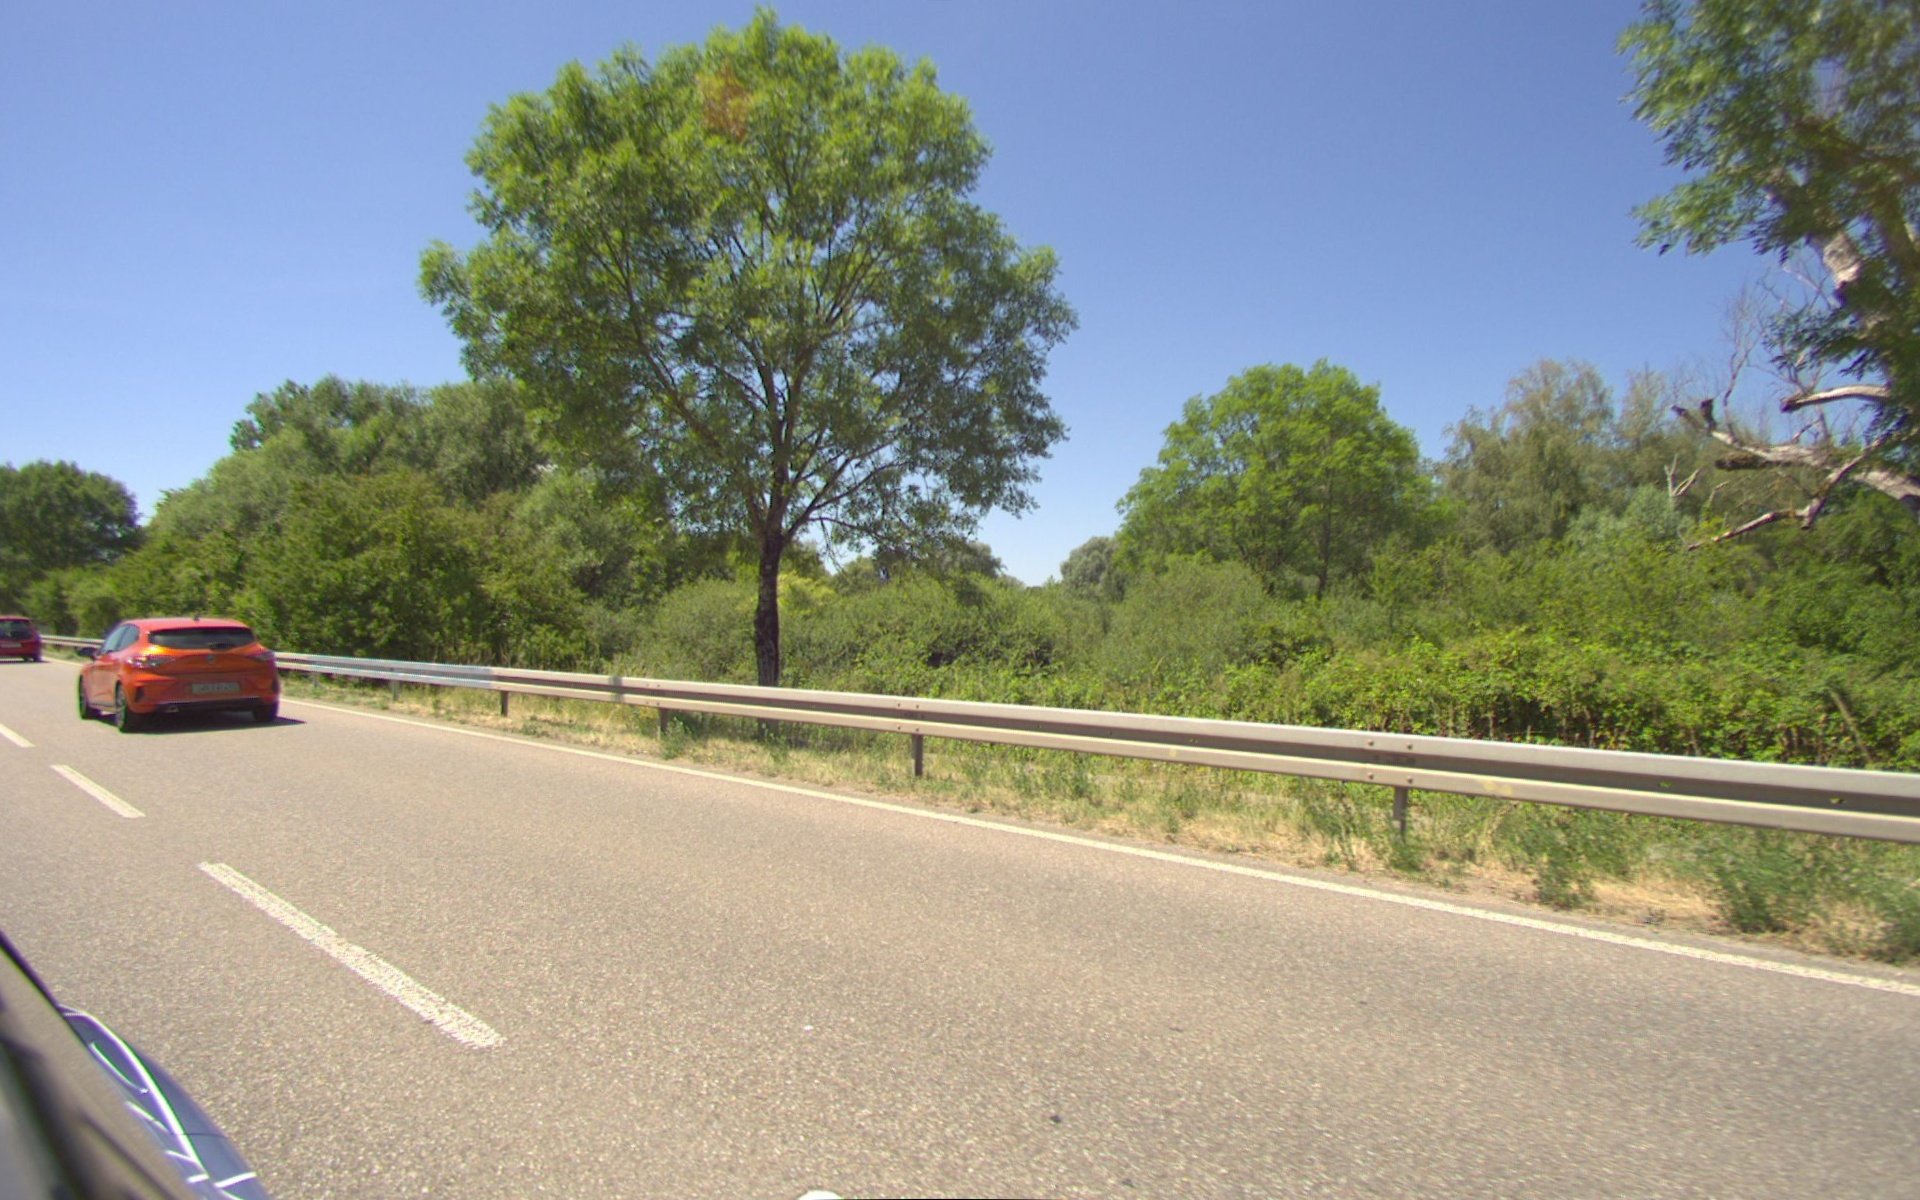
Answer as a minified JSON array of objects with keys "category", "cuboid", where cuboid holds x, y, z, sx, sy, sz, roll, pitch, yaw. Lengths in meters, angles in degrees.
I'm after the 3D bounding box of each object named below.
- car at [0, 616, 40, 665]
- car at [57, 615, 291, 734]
[{"category":"car","cuboid":[-31.786,1.308,33.406,3.998,1.564,1.635,-1,-1,41]},{"category":"car","cuboid":[-11.060,0.936,14.155,3.996,1.432,1.771,-1,-1,40]}]
